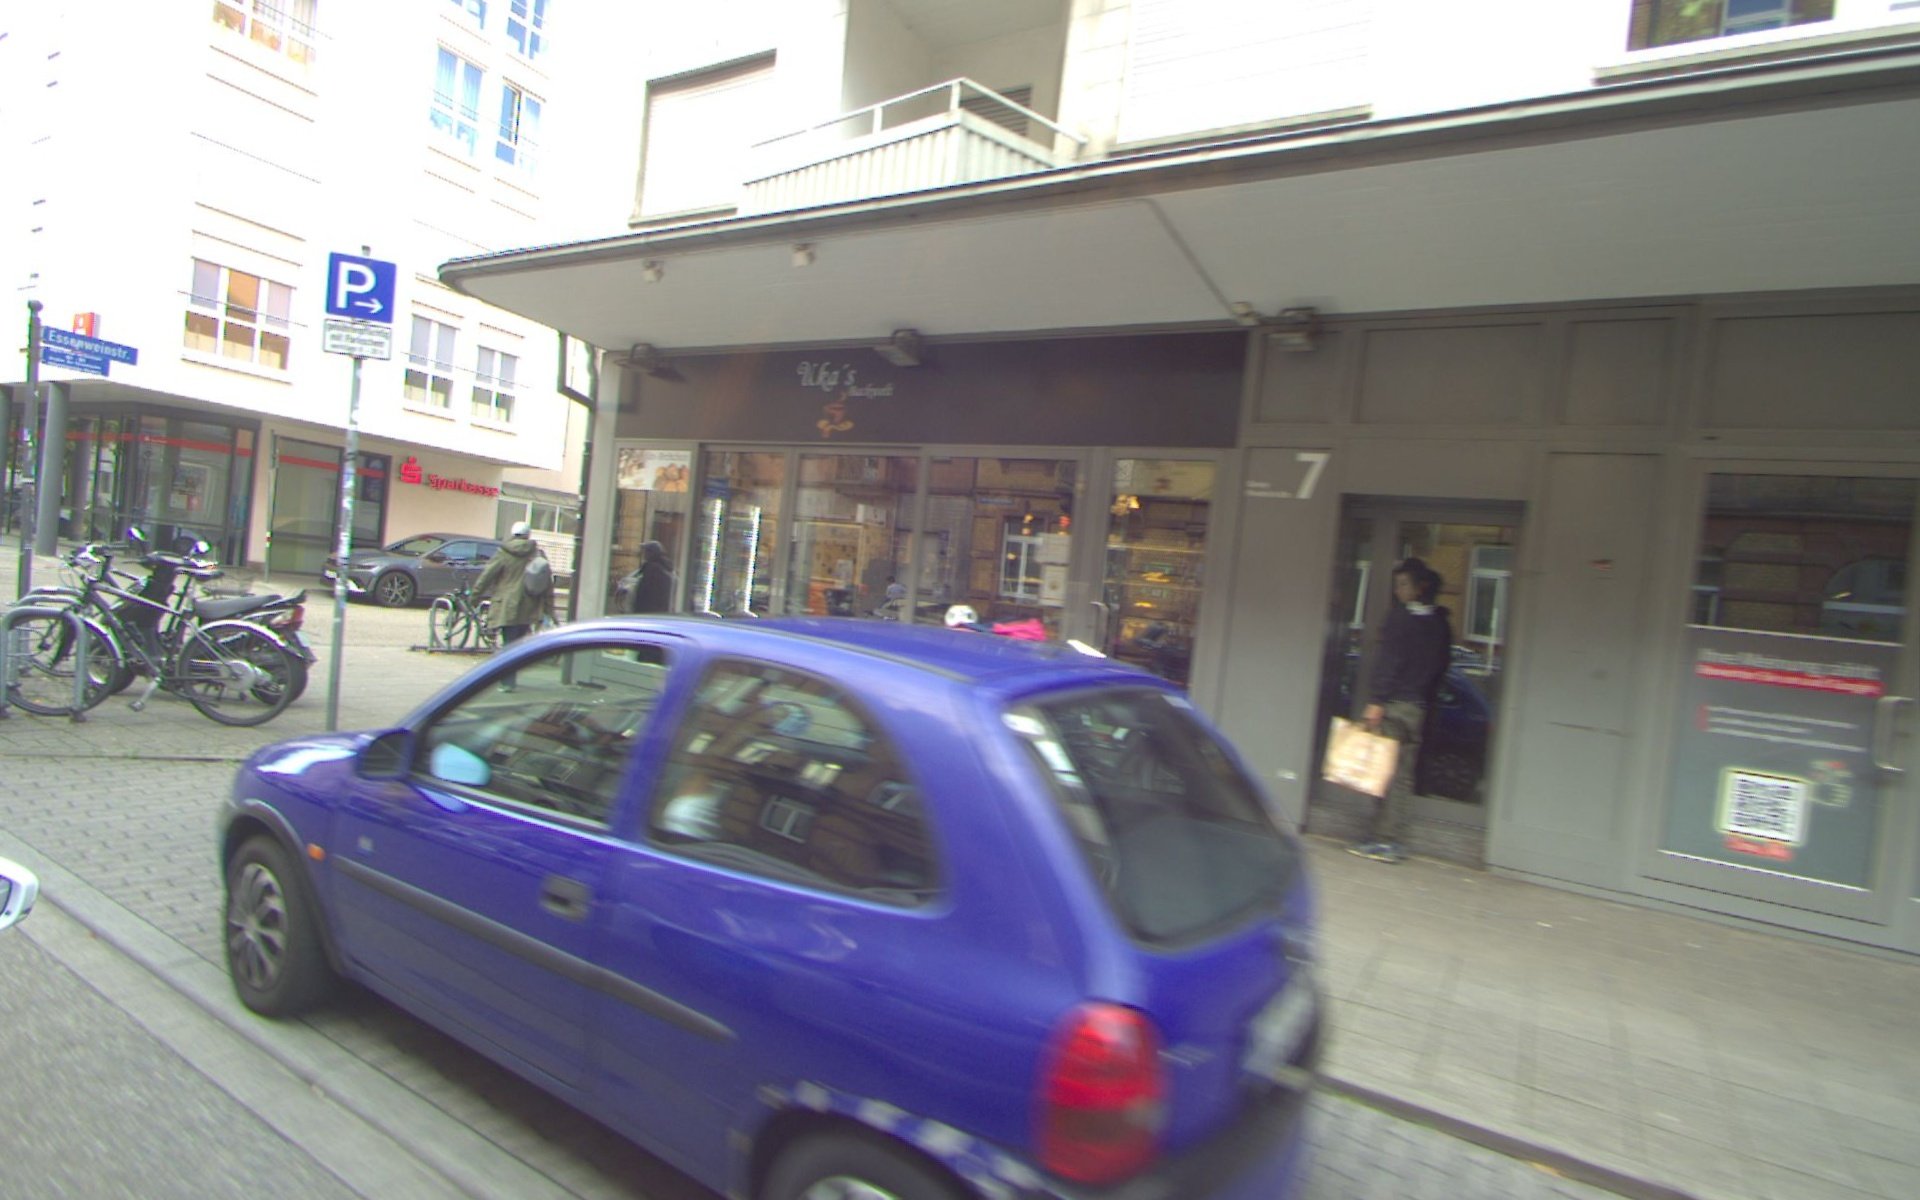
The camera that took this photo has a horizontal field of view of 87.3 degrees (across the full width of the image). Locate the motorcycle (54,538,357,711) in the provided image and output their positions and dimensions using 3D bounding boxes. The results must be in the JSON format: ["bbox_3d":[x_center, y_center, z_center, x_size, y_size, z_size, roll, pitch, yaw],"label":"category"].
[{"bbox_3d":[-5.561,0.182,7.514,1.639,1.109,0.606,5,2,-16],"label":"motorcycle"}]

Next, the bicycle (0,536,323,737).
[{"bbox_3d":[-5.279,0.233,6.534,1.742,1.109,0.681,5,2,-16],"label":"bicycle"}]

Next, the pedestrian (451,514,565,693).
[{"bbox_3d":[-4.383,0.035,9.742,0.817,1.609,0.774,5,2,-30],"label":"pedestrian"}]

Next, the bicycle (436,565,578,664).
[{"bbox_3d":[-5.825,0.173,12.907,1.892,1.077,0.446,6,1,24],"label":"bicycle"}]

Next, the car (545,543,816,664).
[{"bbox_3d":[-4.206,0.125,15.685,1.768,1.519,3.788,6,0,32],"label":"car"}]

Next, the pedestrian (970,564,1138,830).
[{"bbox_3d":[0.631,0.608,6.732,0.768,1.610,0.643,7,3,33],"label":"pedestrian"}]

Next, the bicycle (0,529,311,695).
[{"bbox_3d":[-6.392,0.100,7.954,1.932,1.109,0.688,5,1,-16],"label":"bicycle"}]

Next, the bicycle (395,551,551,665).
[{"bbox_3d":[-6.022,0.093,12.415,1.899,1.206,0.535,6,1,23],"label":"bicycle"}]

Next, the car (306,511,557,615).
[{"bbox_3d":[-11.203,-0.715,21.653,1.778,1.651,4.365,9,1,32],"label":"car"}]

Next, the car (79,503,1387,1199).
[{"bbox_3d":[-0.960,0.626,3.199,3.963,1.458,1.597,7,1,31],"label":"car"}]

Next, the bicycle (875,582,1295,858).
[{"bbox_3d":[0.754,0.664,6.557,2.458,1.308,0.918,7,3,32],"label":"bicycle"}]

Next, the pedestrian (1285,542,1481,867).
[{"bbox_3d":[2.610,0.622,6.242,0.701,1.884,0.640,6,1,-30],"label":"pedestrian"}]
